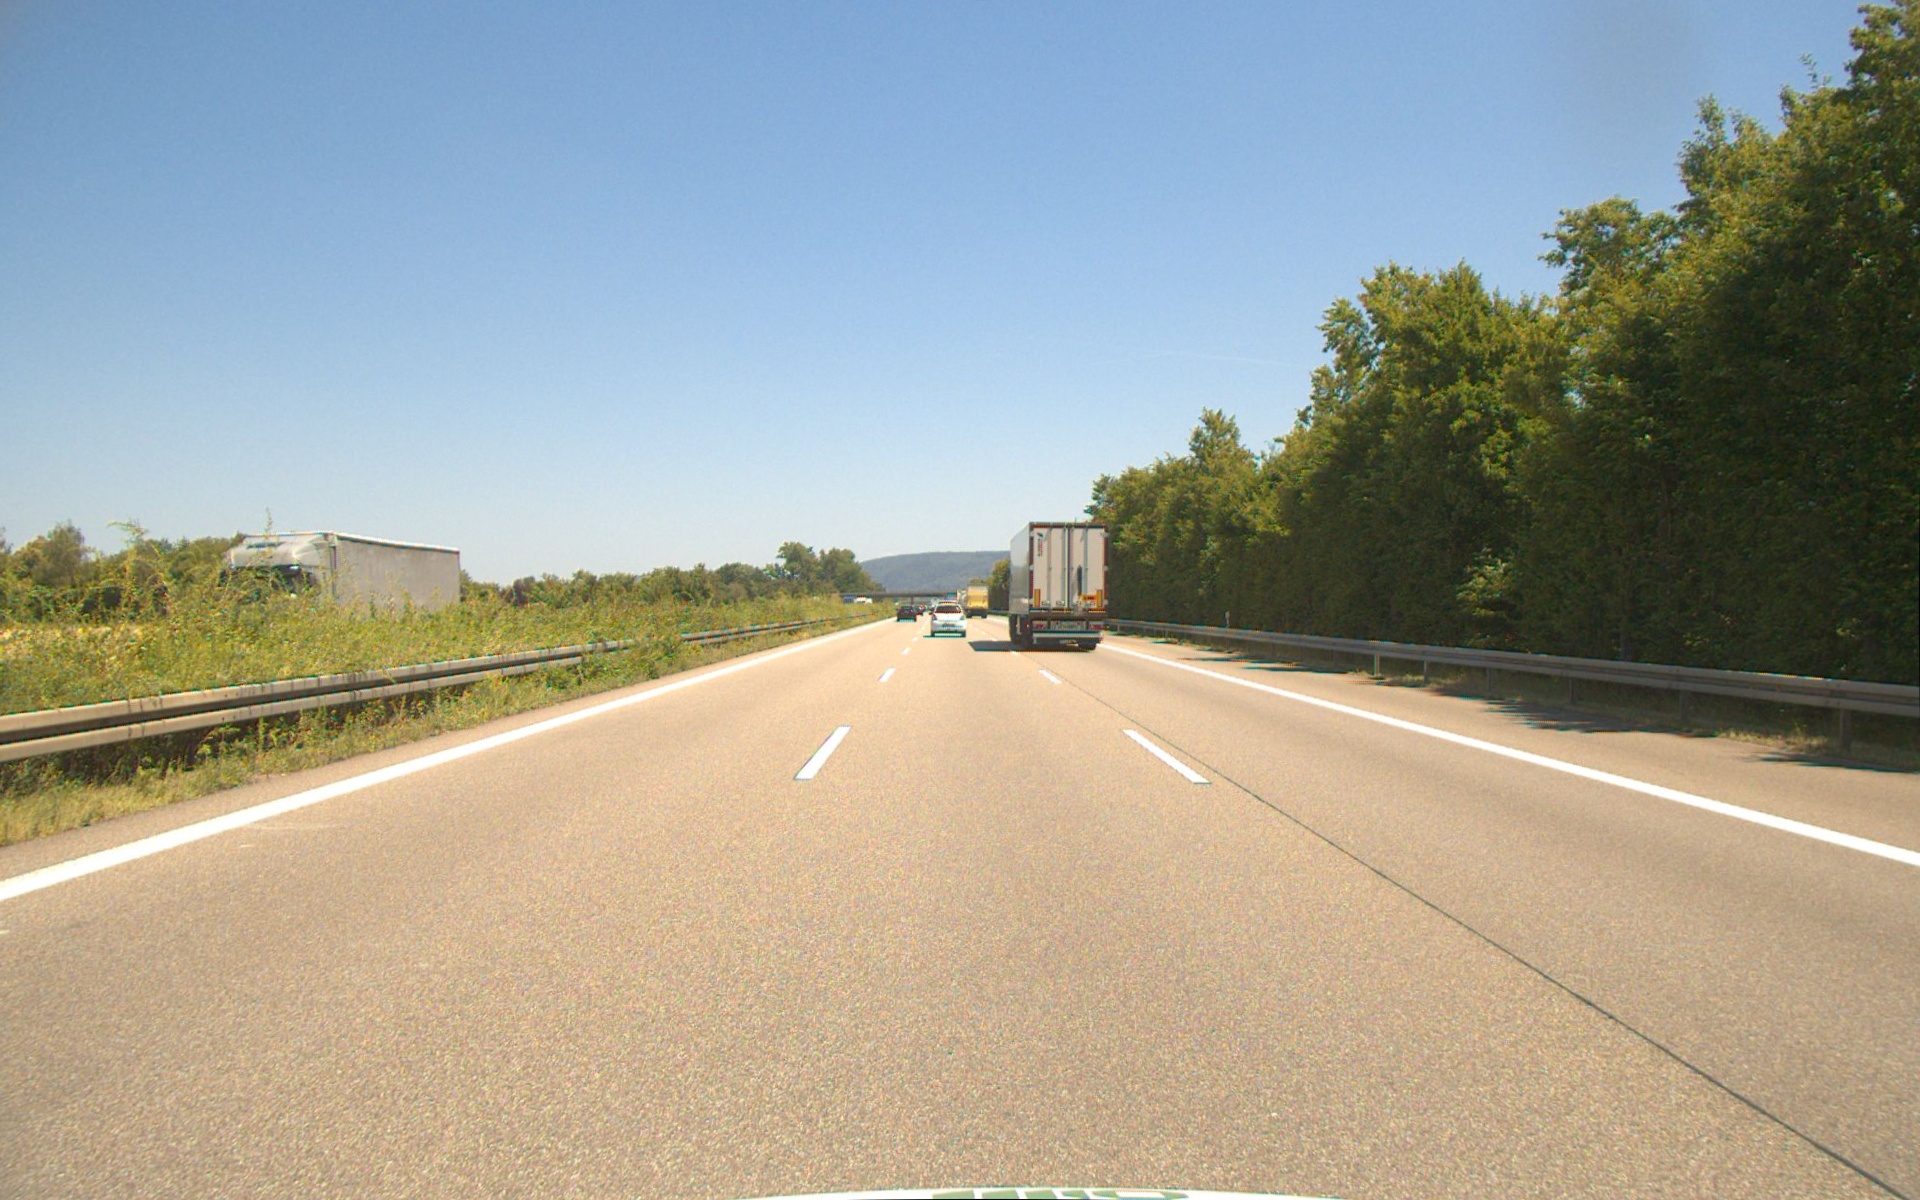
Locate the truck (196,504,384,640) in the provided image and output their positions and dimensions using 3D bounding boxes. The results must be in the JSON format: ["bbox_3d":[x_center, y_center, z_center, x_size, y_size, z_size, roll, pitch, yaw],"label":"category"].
[{"bbox_3d":[-19.906,-0.793,49.556,3.282,3.763,6.062,1,0,-2],"label":"truck"}]

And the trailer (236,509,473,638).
[{"bbox_3d":[-20.173,-0.799,56.526,3.282,3.763,14.376,1,0,-2],"label":"trailer"}]

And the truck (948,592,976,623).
[{"bbox_3d":[0.285,1.166,261.048,4.184,4.733,13.857,0,0,-1],"label":"truck"}]

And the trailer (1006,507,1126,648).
[{"bbox_3d":[3.565,-0.709,59.354,3.152,4.421,13.626,1,0,-1],"label":"trailer"}]

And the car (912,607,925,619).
[{"bbox_3d":[-5.840,1.839,235.397,1.759,1.578,3.999,0,0,-1],"label":"car"}]

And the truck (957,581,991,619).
[{"bbox_3d":[1.604,-0.025,201.513,3.792,4.421,13.858,1,0,-1],"label":"truck"}]

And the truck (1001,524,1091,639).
[{"bbox_3d":[3.436,-0.725,67.784,3.152,4.421,6.589,1,0,-1],"label":"truck"}]

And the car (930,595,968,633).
[{"bbox_3d":[-0.536,0.613,77.607,1.697,1.713,3.999,-1,0,-1],"label":"car"}]

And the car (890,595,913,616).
[{"bbox_3d":[-5.193,0.488,147.698,1.953,1.742,3.999,1,0,-1],"label":"car"}]
